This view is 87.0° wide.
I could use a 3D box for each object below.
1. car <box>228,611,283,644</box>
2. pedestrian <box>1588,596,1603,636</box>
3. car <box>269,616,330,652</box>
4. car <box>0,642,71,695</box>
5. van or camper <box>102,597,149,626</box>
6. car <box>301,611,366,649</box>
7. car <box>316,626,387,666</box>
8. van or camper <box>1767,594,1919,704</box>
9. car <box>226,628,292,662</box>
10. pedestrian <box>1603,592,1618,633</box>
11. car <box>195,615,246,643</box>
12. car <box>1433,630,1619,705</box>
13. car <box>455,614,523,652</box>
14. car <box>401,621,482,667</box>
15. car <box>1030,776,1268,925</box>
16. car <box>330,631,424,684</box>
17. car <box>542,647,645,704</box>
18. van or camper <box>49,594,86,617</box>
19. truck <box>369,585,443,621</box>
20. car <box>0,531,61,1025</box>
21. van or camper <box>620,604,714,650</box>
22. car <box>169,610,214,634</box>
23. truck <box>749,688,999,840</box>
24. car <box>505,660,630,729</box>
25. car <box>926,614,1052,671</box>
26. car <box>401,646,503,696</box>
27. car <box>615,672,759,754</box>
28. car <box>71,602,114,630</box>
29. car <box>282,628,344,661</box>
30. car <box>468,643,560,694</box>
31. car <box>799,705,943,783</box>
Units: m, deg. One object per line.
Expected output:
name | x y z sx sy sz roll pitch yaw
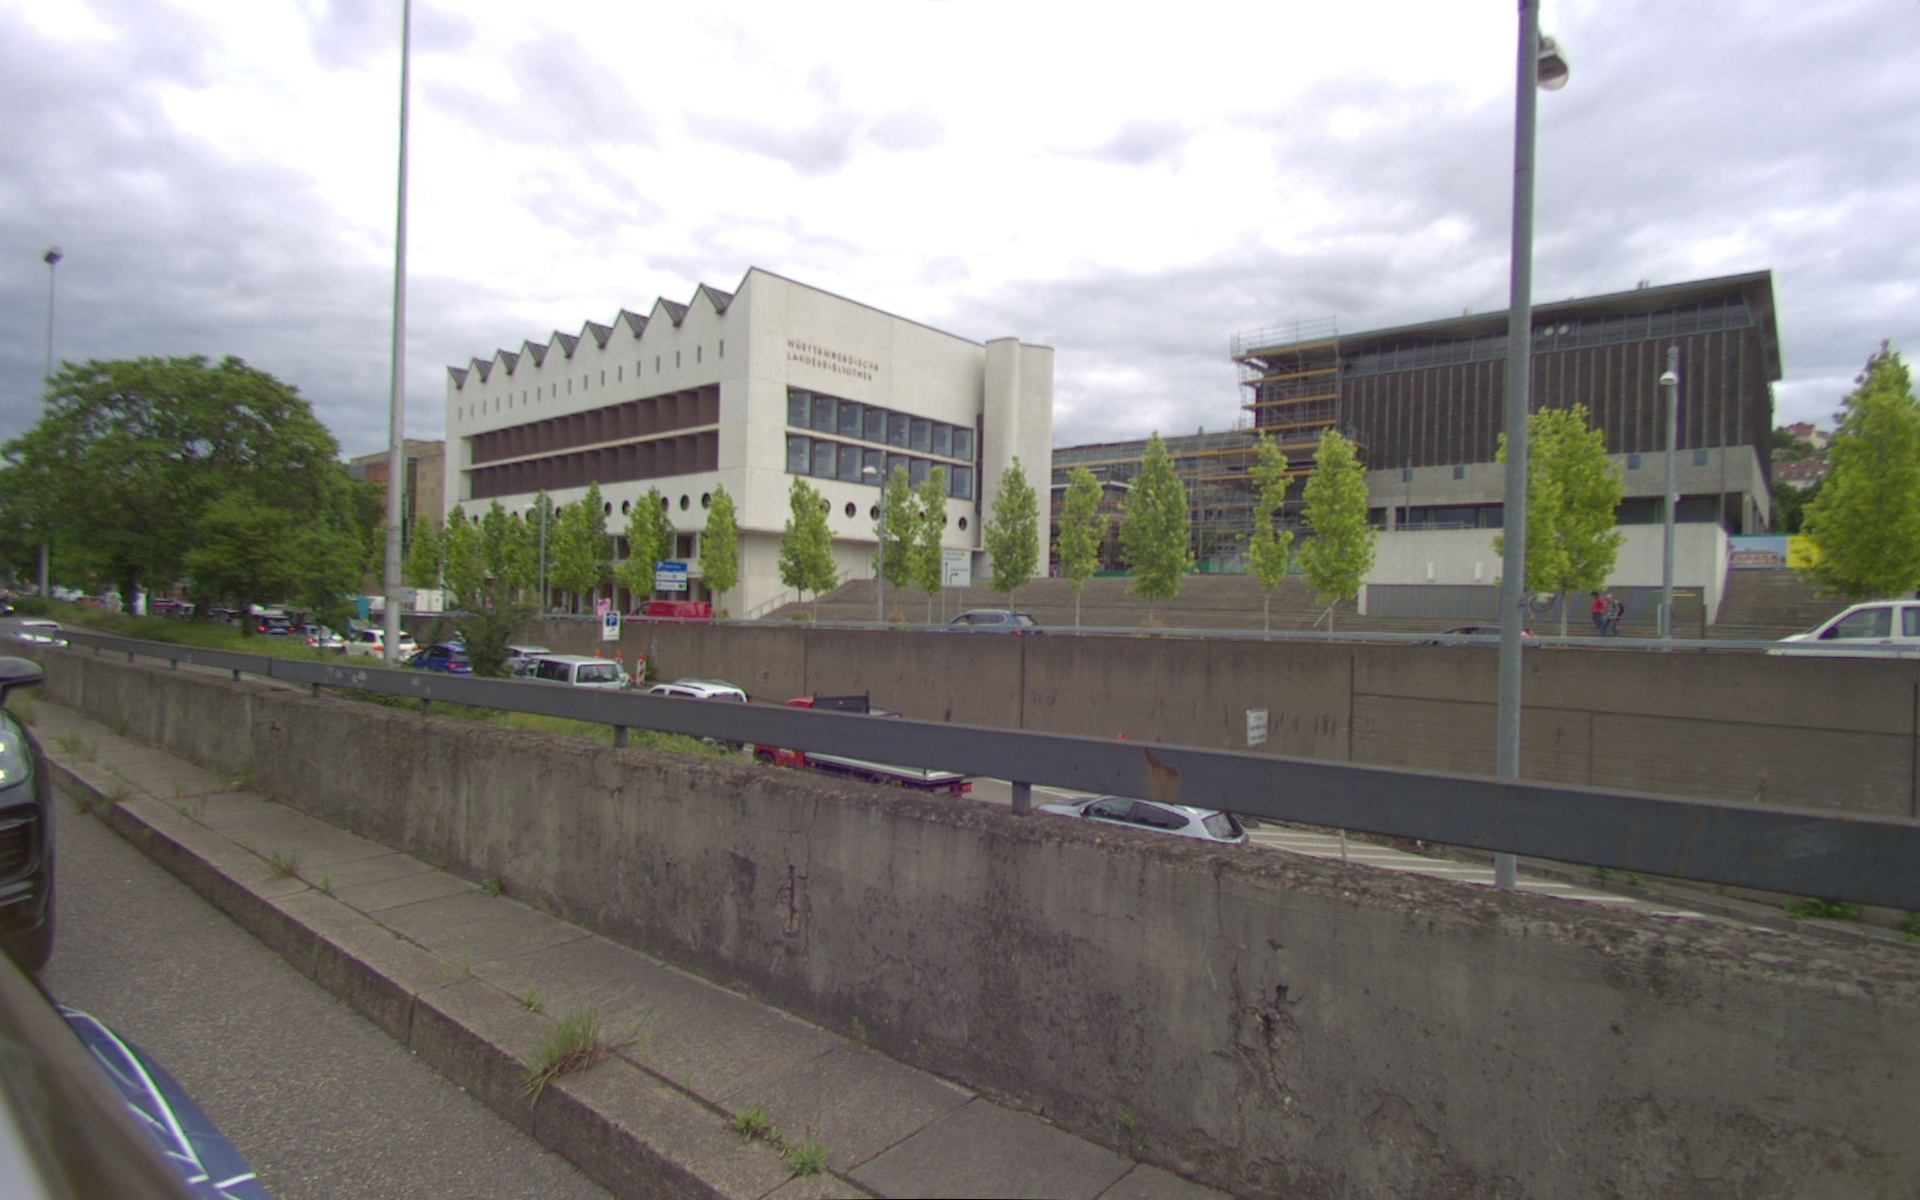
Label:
car | -46.326 1.844 66.552 3.998 2.029 1.973 -2 -5 41
pedestrian | 24.810 0.626 39.493 0.461 1.533 0.377 -1 0 35
car | -39.860 2.061 61.075 3.998 2.029 1.973 -2 -5 41
car | -40.199 2.912 43.908 3.998 2.029 1.973 -1 0 41
van or camper | -60.178 0.825 72.974 3.998 2.029 2.010 -2 -1 41
car | -35.717 1.733 57.696 3.998 2.029 1.973 -2 -5 41
car | -32.957 2.433 54.770 4.653 2.029 1.973 -2 -1 41
van or camper | 18.540 0.916 19.512 4.555 2.029 1.973 -2 -2 41
car | -37.109 2.354 53.574 3.998 1.672 1.973 -2 -1 41
pedestrian | 24.696 0.481 38.422 0.461 1.533 0.377 -1 0 35
car | -42.020 1.645 57.475 3.360 1.497 1.653 -2 -1 41
car | 15.087 1.733 27.060 3.998 1.829 1.973 -2 -2 41
car | -26.794 1.841 57.523 3.996 2.029 1.974 -1 0 40
car | -24.315 2.071 47.405 3.998 2.029 1.973 -2 -5 41
car | 3.408 4.466 18.628 3.925 1.829 1.771 -2 -1 40
car | -25.331 2.467 43.900 4.849 2.148 1.973 -2 -5 41
car | -14.111 2.876 38.903 3.998 2.029 1.973 -2 -5 41
van or camper | -79.859 0.492 90.518 3.998 2.029 2.010 -2 -1 41
truck | -35.964 0.207 65.659 5.606 2.174 1.979 -1 -1 35
car | -5.569 0.653 4.410 4.677 1.690 1.913 -2 -1 41
van or camper | -13.575 1.264 46.760 4.552 2.029 1.974 -2 -2 39
car | -48.511 1.387 63.859 3.360 1.497 1.653 -2 -1 41
truck | -2.145 3.591 23.498 5.976 2.711 2.294 -2 -1 42
car | -12.920 3.037 33.182 4.330 2.029 1.973 -2 -5 41
car | 0.962 1.443 34.853 3.998 1.829 1.973 -2 -2 41
car | -19.583 2.717 38.932 4.279 1.757 1.973 -2 -5 41
car | -7.735 3.116 28.568 3.998 2.029 1.973 -2 -5 41
car | -69.130 1.270 80.592 3.998 2.028 1.973 -2 2 41
car | -31.122 2.135 48.667 3.360 1.497 1.653 -1 -2 41
car | -18.838 2.865 42.734 3.998 2.029 1.973 -2 -5 41
car | -2.587 4.037 28.929 3.862 1.830 1.973 -2 -3 40
